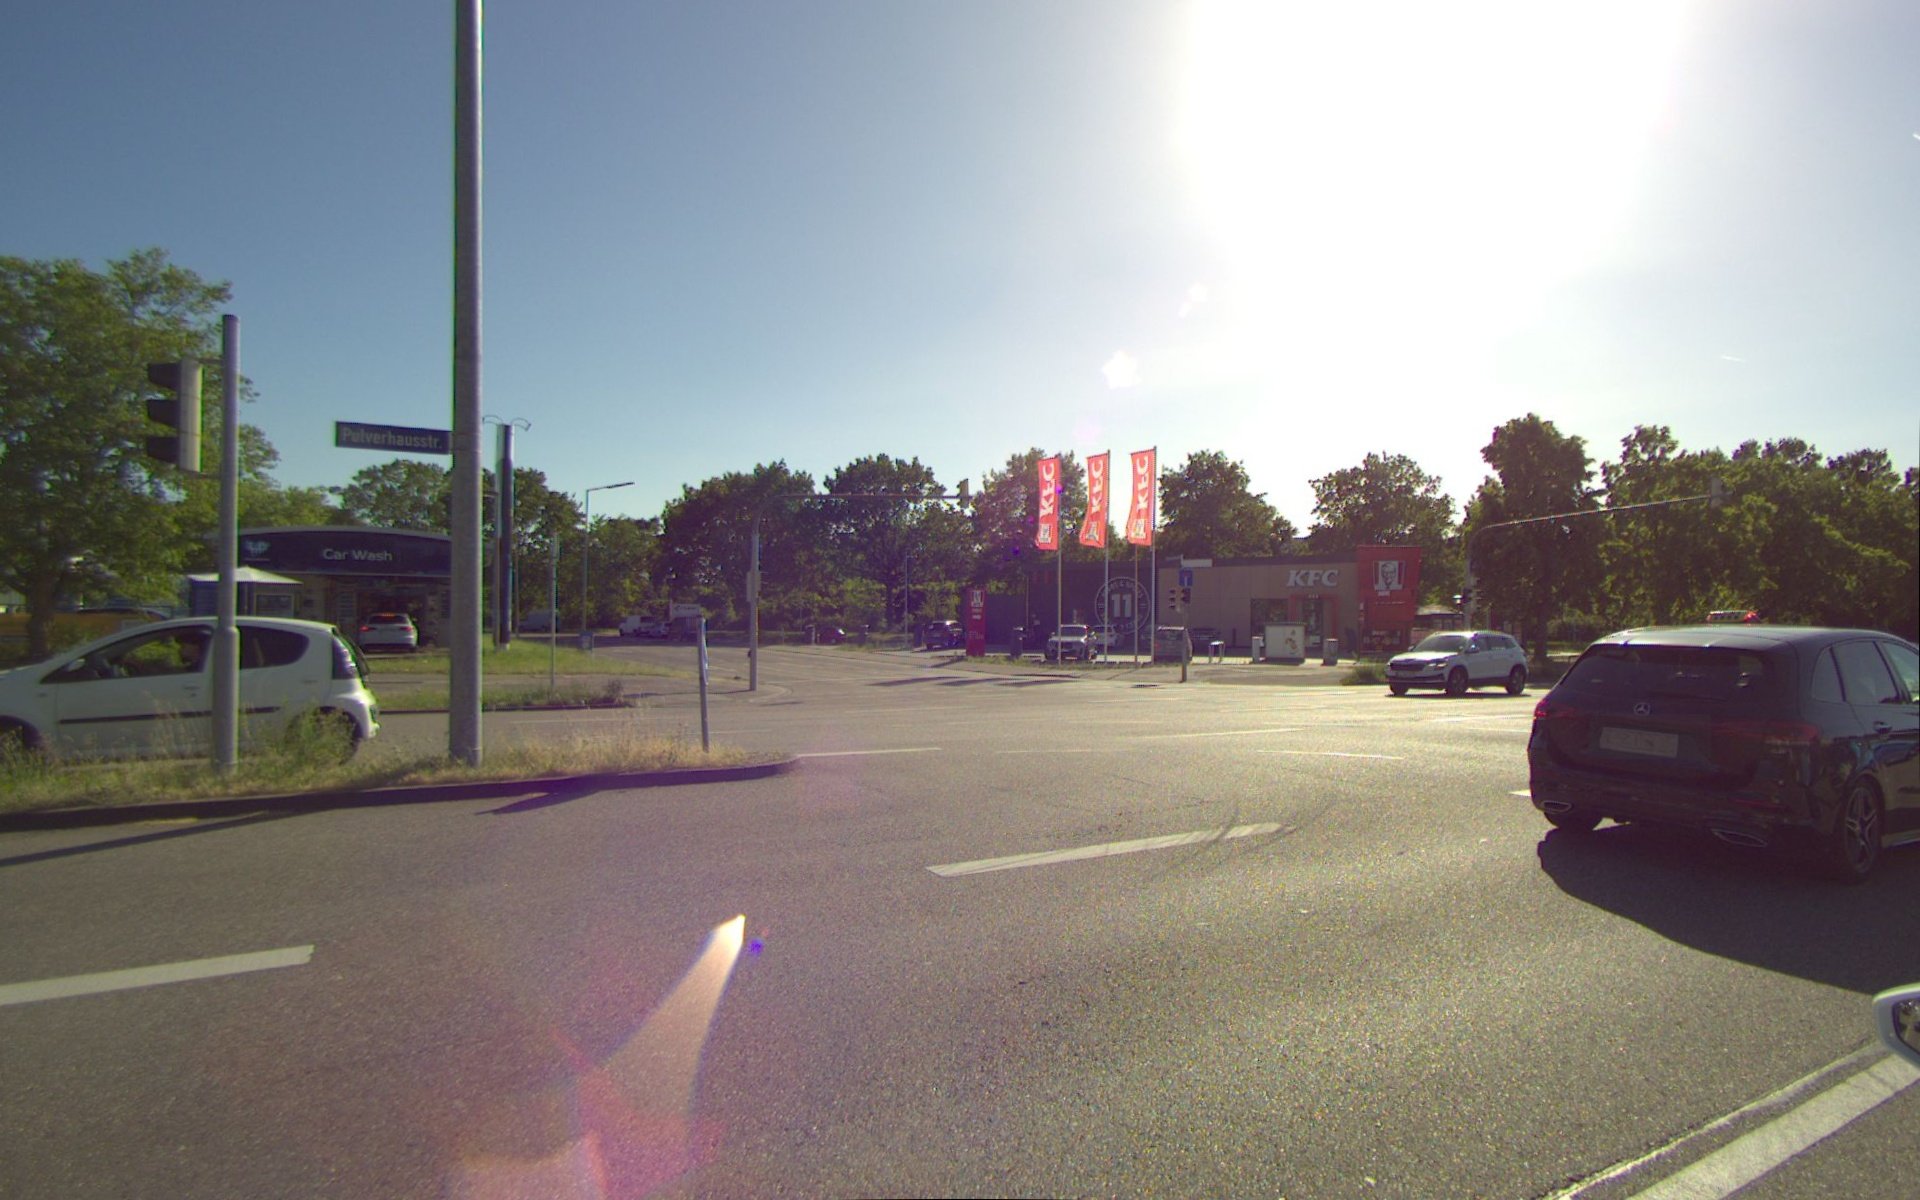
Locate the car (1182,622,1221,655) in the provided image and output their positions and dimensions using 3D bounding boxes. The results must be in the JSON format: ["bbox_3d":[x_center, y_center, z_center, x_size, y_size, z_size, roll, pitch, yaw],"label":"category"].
[{"bbox_3d":[13.732,2.162,56.918,1.857,1.684,4.244,2,0,17],"label":"car"}]

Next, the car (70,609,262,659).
[{"bbox_3d":[-22.623,1.017,28.842,4.074,1.342,1.885,2,-3,-32],"label":"car"}]

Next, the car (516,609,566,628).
[{"bbox_3d":[-42.565,1.866,101.951,4.699,1.823,2.099,-1,-2,27],"label":"car"}]

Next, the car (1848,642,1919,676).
[{"bbox_3d":[45.945,2.871,49.613,4.147,1.546,1.984,1,-1,-31],"label":"car"}]

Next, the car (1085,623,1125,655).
[{"bbox_3d":[8.641,2.294,59.614,1.845,1.771,4.002,0,-2,15],"label":"car"}]

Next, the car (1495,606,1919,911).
[{"bbox_3d":[5.907,0.919,7.229,4.175,1.619,1.699,2,0,-31],"label":"car"}]

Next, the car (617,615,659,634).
[{"bbox_3d":[-29.194,2.261,91.028,4.241,1.690,1.898,-2,-3,44],"label":"car"}]

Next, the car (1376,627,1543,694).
[{"bbox_3d":[13.005,1.562,26.102,4.217,1.620,1.886,2,-3,-30],"label":"car"}]

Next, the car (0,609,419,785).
[{"bbox_3d":[-7.270,0.864,9.613,3.621,1.451,1.687,2,-3,-30],"label":"car"}]

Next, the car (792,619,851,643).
[{"bbox_3d":[-10.896,2.429,79.197,4.213,1.867,1.911,0,-2,14],"label":"car"}]

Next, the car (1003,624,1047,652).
[{"bbox_3d":[3.948,2.269,60.548,1.845,1.539,4.002,2,0,15],"label":"car"}]

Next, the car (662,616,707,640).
[{"bbox_3d":[-22.300,2.296,81.248,1.894,1.867,4.251,2,-3,-39],"label":"car"}]

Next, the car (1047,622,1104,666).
[{"bbox_3d":[5.552,2.054,47.900,1.811,1.875,3.830,2,0,20],"label":"car"}]

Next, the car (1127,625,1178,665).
[{"bbox_3d":[9.155,2.089,47.510,1.857,1.684,4.134,2,0,17],"label":"car"}]

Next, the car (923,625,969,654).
[{"bbox_3d":[-0.819,2.438,61.879,1.880,1.764,4.304,0,-2,12],"label":"car"}]

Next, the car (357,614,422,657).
[{"bbox_3d":[-20.481,1.292,36.113,1.879,1.451,4.088,2,-3,-30],"label":"car"}]
